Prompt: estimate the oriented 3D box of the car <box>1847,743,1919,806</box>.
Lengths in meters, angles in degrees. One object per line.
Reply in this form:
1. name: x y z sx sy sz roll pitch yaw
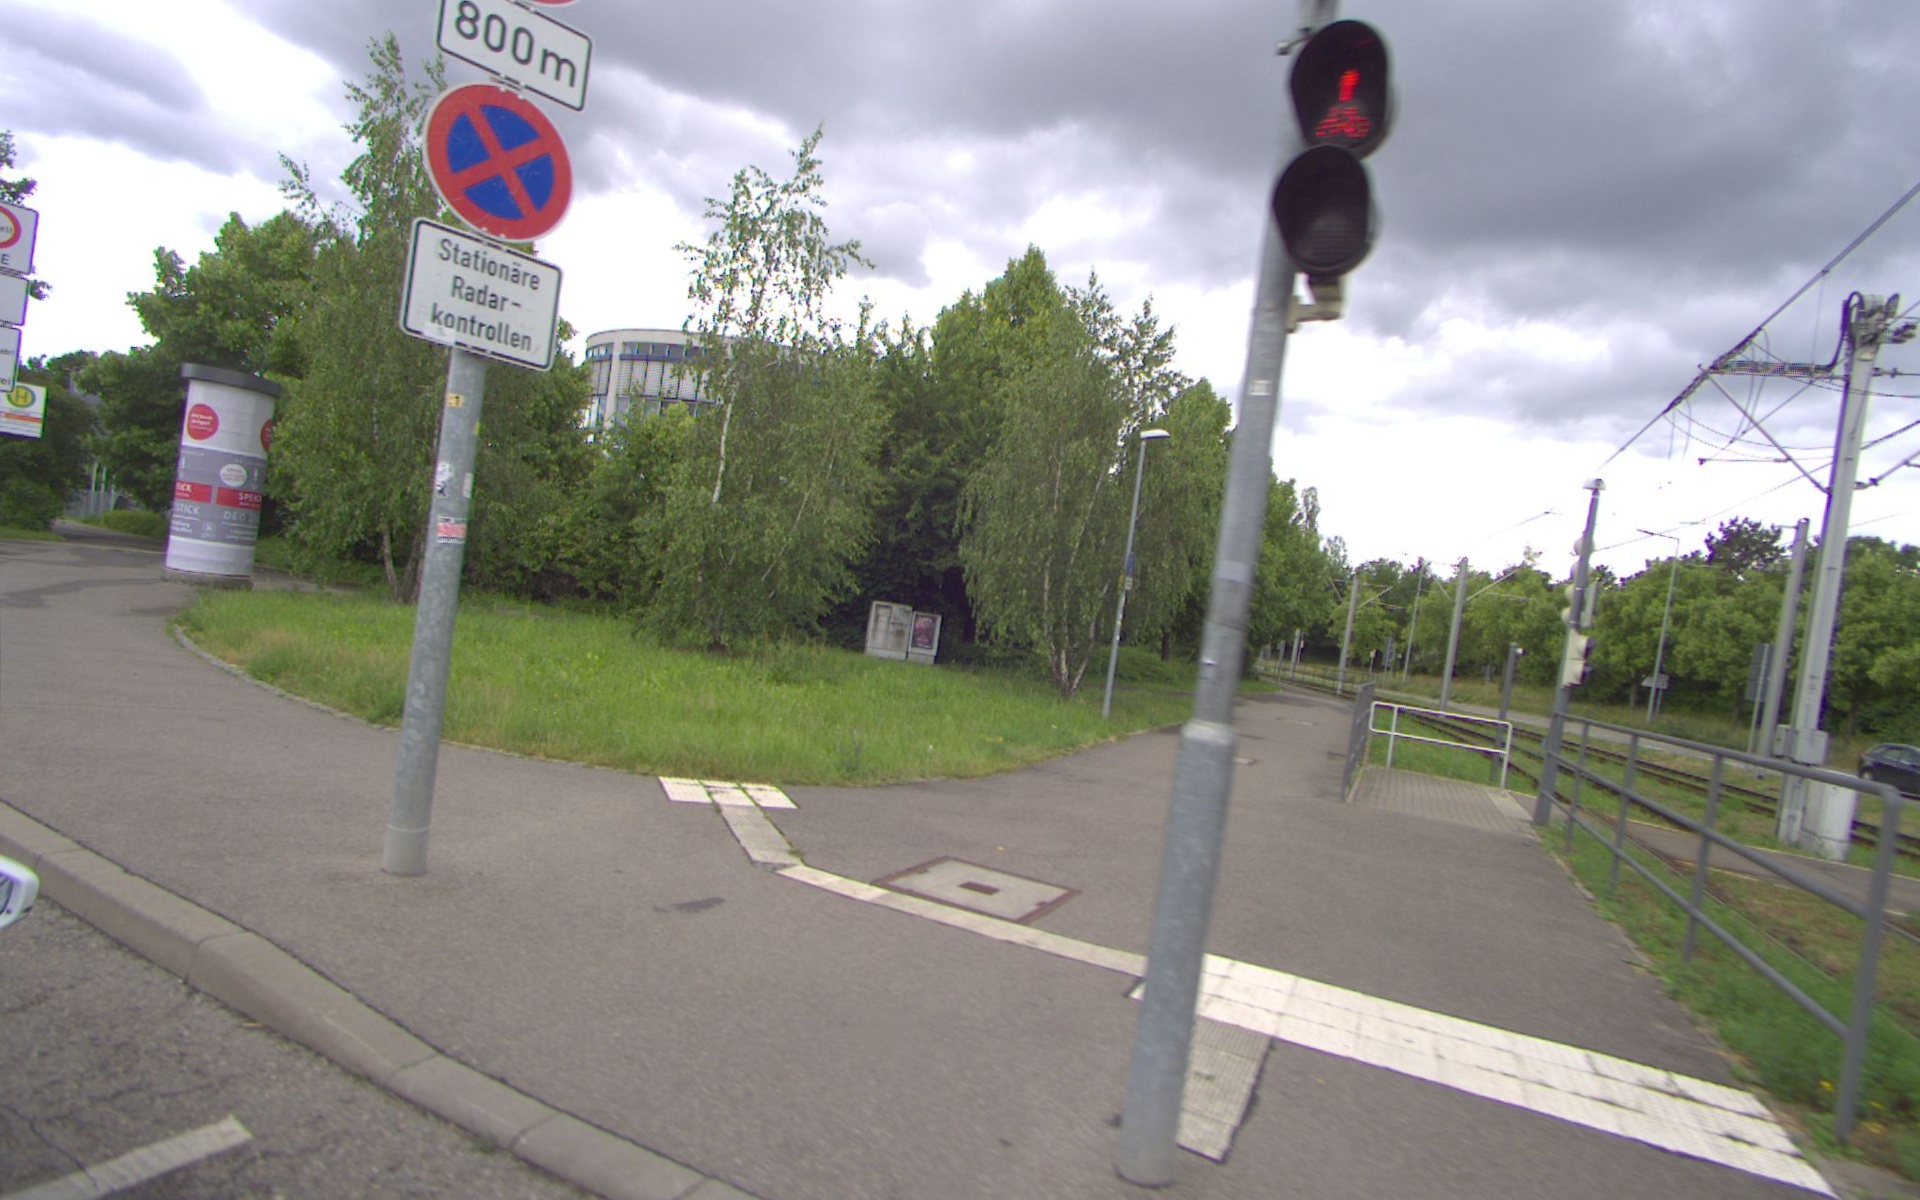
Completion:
1. car: 27.587 5.110 28.358 1.962 1.415 4.002 8 0 11
